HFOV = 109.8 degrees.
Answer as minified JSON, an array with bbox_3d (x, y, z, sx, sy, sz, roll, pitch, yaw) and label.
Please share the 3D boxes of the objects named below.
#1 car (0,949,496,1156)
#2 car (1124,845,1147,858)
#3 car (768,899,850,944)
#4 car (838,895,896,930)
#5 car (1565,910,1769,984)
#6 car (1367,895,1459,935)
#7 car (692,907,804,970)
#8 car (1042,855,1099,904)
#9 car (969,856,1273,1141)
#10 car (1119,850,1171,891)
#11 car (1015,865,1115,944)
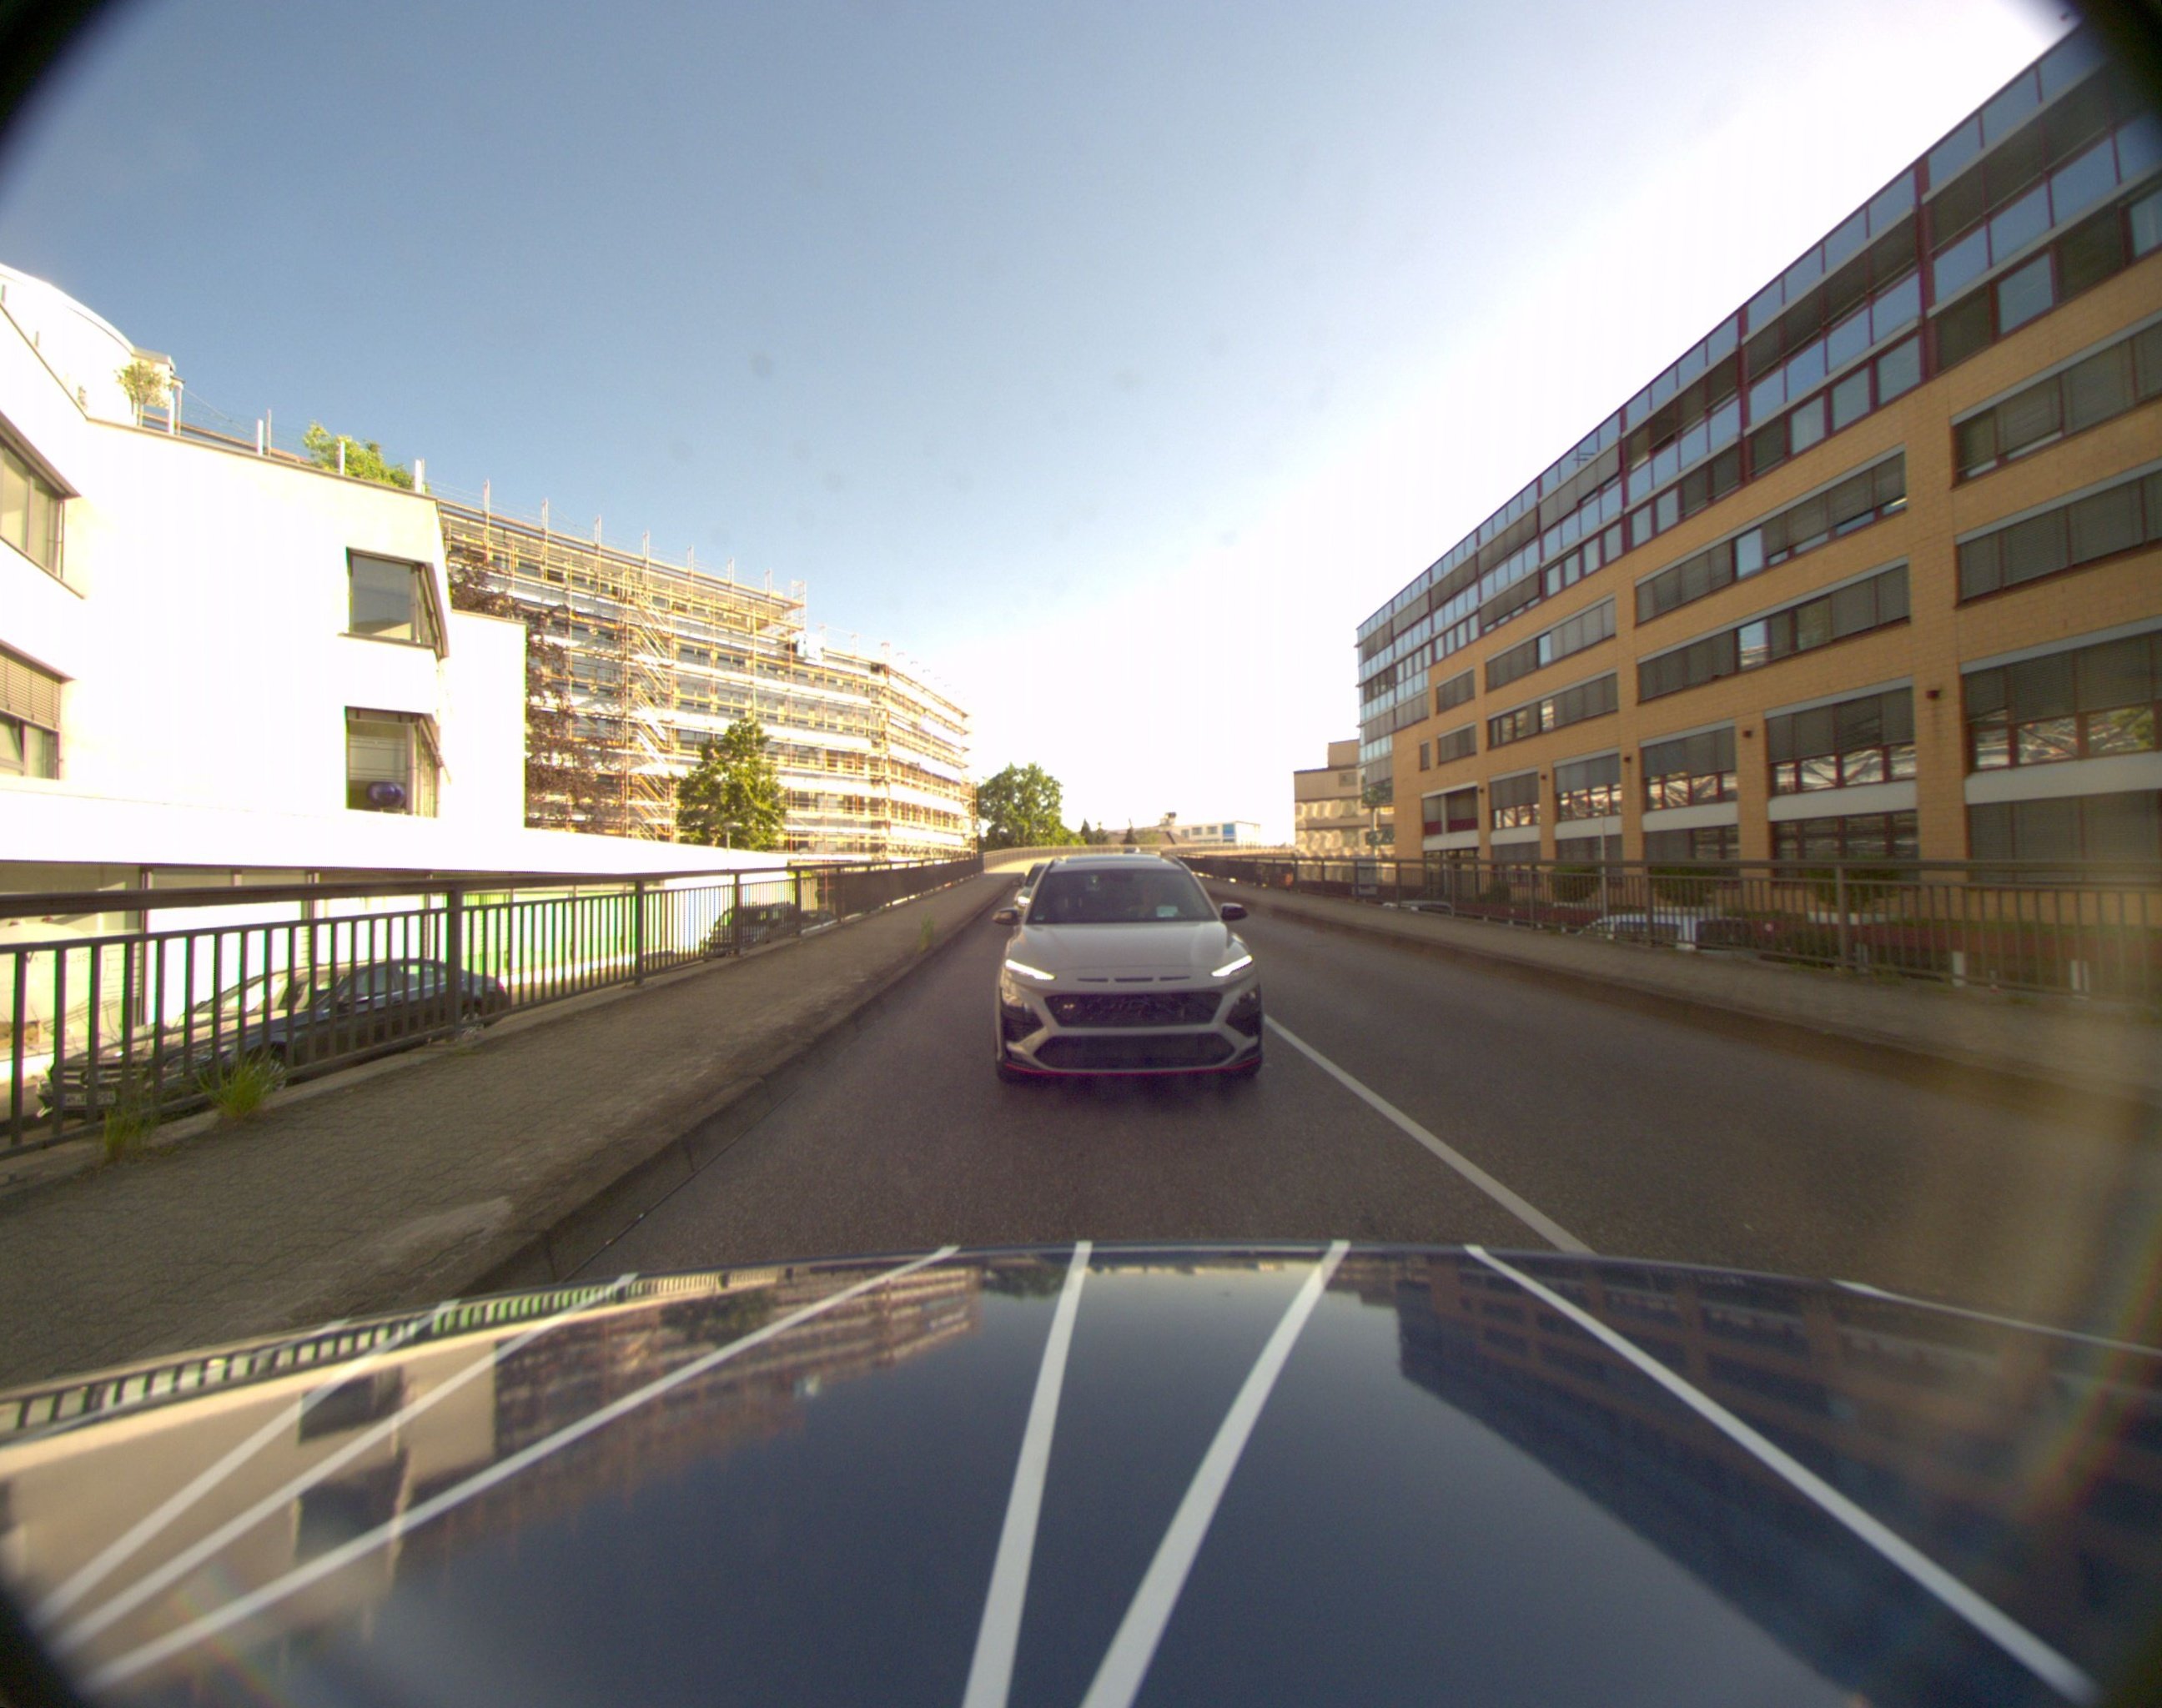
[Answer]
[{"bbox_3d":[-9.654,2.173,9.369,1.726,1.513,4.001,-2,-1,0],"label":"car"},{"bbox_3d":[6.100,-0.221,84.908,1.744,1.399,4.206,0,0,16],"label":"car"},{"bbox_3d":[-10.324,2.534,29.162,1.726,1.383,4.000,-2,-1,-1],"label":"car"},{"bbox_3d":[-10.524,2.851,37.620,1.726,1.383,4.000,-2,-1,-1],"label":"car"},{"bbox_3d":[12.925,1.999,17.077,1.580,1.261,3.809,0,-1,-1],"label":"car"},{"bbox_3d":[12.513,2.283,28.883,1.766,1.261,3.809,0,-1,-1],"label":"car"},{"bbox_3d":[-10.091,2.513,23.376,1.726,1.513,4.000,-2,-1,-1],"label":"car"},{"bbox_3d":[-0.421,0.904,28.952,1.952,1.456,3.997,3,2,-1],"label":"car"},{"bbox_3d":[0.240,0.871,6.395,1.749,1.637,4.001,0,-1,0],"label":"car"},{"bbox_3d":[2.779,0.672,33.853,1.809,1.614,3.998,2,1,-2],"label":"car"},{"bbox_3d":[-0.369,0.998,16.647,1.902,1.433,4.126,0,0,-2],"label":"car"}]
